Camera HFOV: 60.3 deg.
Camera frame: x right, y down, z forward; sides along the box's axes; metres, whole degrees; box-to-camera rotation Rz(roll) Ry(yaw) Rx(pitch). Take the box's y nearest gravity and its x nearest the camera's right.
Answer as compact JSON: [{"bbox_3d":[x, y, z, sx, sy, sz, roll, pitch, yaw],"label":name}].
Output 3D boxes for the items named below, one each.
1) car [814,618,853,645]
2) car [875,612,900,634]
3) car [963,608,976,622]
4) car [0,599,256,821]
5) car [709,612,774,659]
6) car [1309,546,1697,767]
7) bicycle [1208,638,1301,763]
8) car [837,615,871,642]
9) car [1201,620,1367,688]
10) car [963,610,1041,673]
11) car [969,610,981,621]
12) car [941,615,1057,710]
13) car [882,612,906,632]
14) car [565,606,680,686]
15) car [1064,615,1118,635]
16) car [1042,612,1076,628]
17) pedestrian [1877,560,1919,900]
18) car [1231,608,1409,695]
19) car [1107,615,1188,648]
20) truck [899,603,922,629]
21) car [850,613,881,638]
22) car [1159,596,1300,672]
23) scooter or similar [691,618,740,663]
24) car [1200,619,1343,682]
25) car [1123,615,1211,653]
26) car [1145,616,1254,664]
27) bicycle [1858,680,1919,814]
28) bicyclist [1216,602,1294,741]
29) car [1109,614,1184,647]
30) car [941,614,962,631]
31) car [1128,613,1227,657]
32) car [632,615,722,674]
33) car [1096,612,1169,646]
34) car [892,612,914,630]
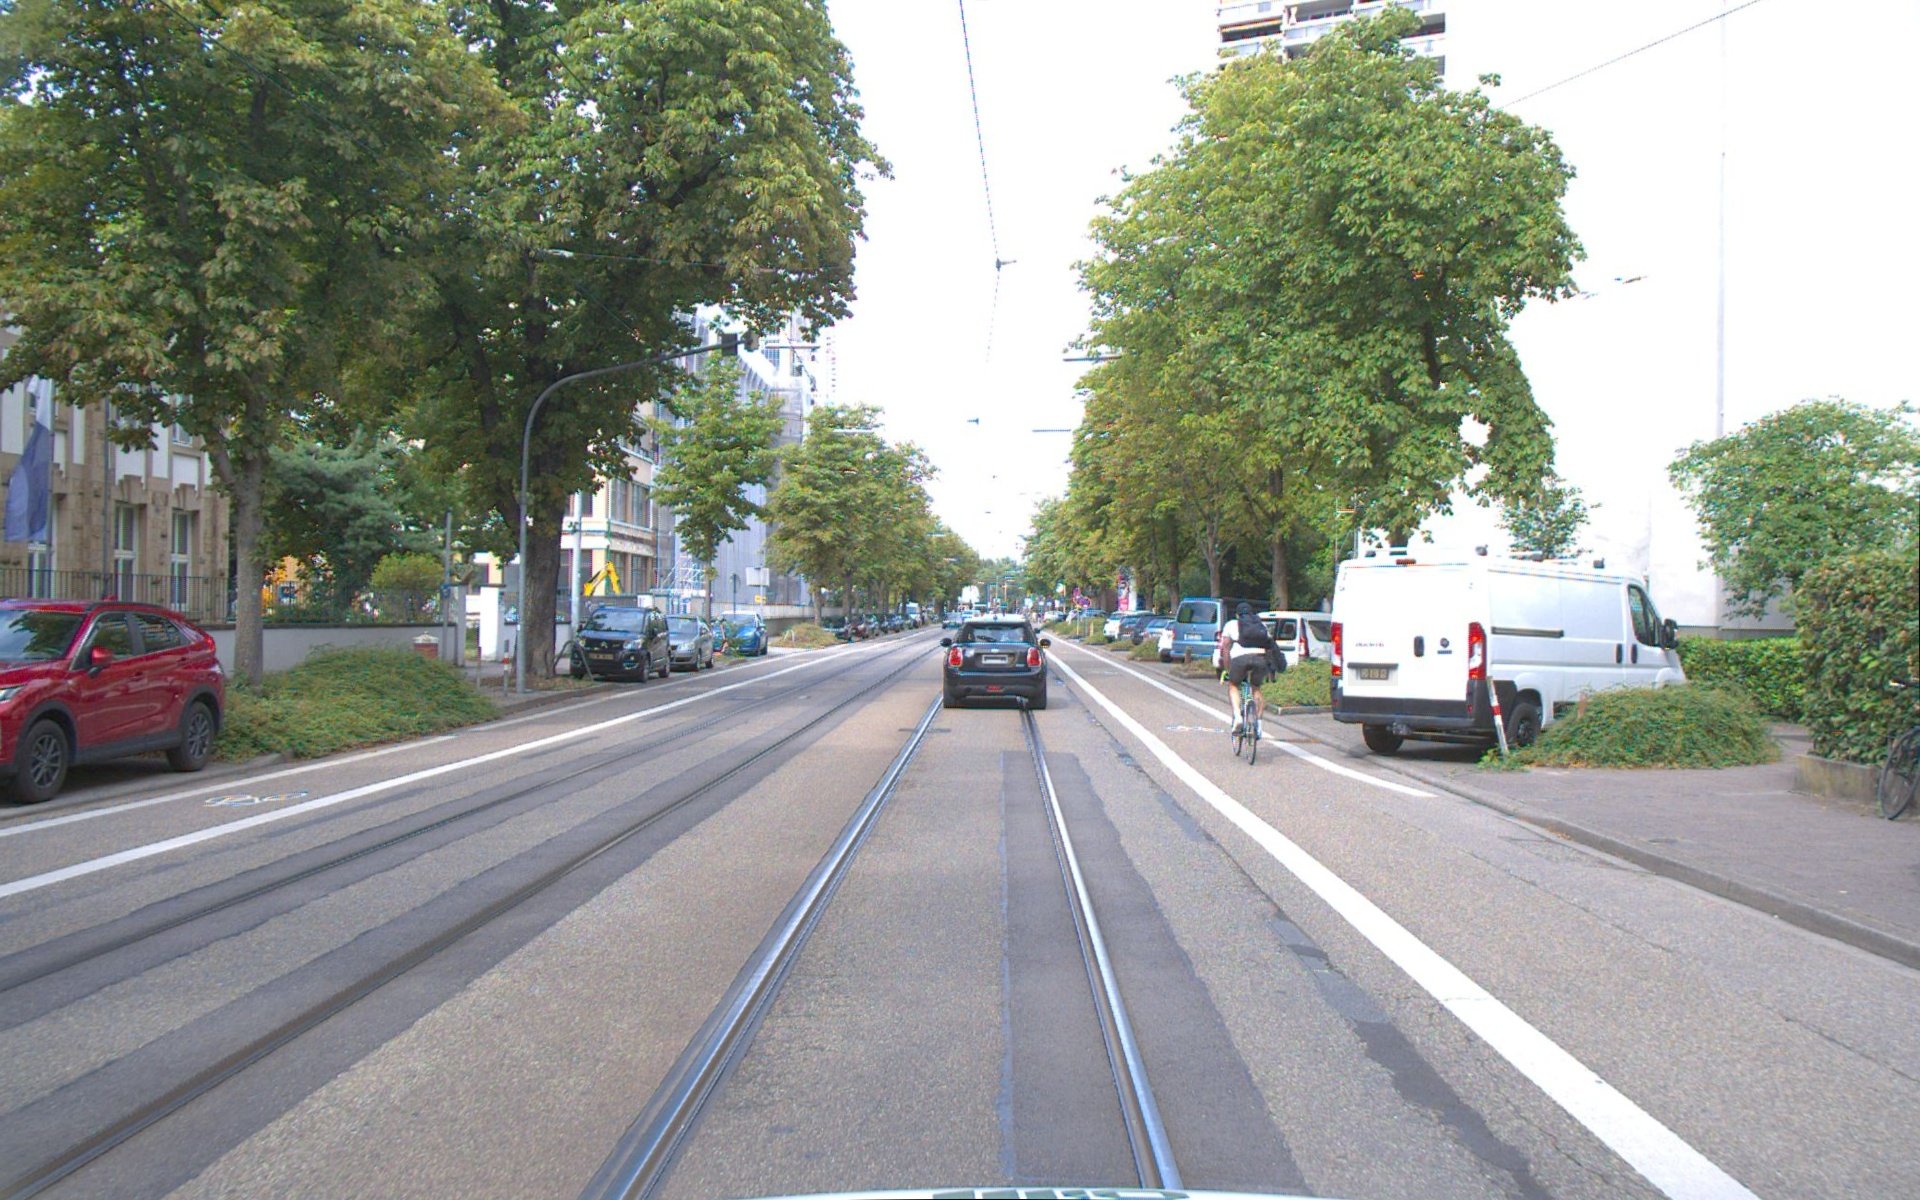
[{"bbox_3d":[-6.856,1.694,90.115,1.765,1.398,4.031,-1,-1,1],"label":"car"},{"bbox_3d":[-5.719,1.807,130.314,1.765,1.611,4.031,-1,-1,1],"label":"car"},{"bbox_3d":[1.345,2.080,228.250,1.765,1.855,4.484,-1,-1,1],"label":"car"},{"bbox_3d":[-8.280,0.860,15.073,1.686,1.684,4.542,2,-1,0],"label":"car"},{"bbox_3d":[-7.425,1.192,56.413,1.658,1.513,3.677,1,-1,1],"label":"car"},{"bbox_3d":[6.652,0.640,19.977,4.916,2.330,2.348,2,-1,-42],"label":"car"},{"bbox_3d":[3.277,1.093,18.591,0.644,1.271,2.124,1,0,0],"label":"bicycle"},{"bbox_3d":[-6.457,1.730,100.747,1.765,1.611,4.031,-1,-1,1],"label":"car"},{"bbox_3d":[7.381,1.206,37.504,3.940,1.458,1.664,2,-1,-42],"label":"car"},{"bbox_3d":[1.051,1.050,43.266,1.757,1.496,3.998,2,-1,-2],"label":"car"},{"bbox_3d":[2.205,2.301,247.278,1.765,1.650,4.484,-1,-1,1],"label":"car"},{"bbox_3d":[0.583,0.994,27.764,1.757,1.448,3.999,1,-1,-1],"label":"car"},{"bbox_3d":[-5.552,1.867,139.543,1.765,1.611,4.031,-1,-1,1],"label":"car"},{"bbox_3d":[-7.644,1.011,37.827,1.720,1.676,4.052,1,-1,1],"label":"car"},{"bbox_3d":[9.953,1.869,125.653,3.906,1.450,1.884,1,-1,-2],"label":"car"},{"bbox_3d":[12.127,2.435,202.853,3.906,1.944,1.999,1,0,-2],"label":"car"},{"bbox_3d":[5.347,0.662,8.447,0.769,1.763,0.896,-2,-1,1],"label":"pedestrian"},{"bbox_3d":[7.521,1.051,34.353,4.078,1.697,1.662,2,-1,-45],"label":"car"},{"bbox_3d":[8.396,1.402,73.816,3.499,1.468,1.602,1,-1,-38],"label":"car"},{"bbox_3d":[-4.892,1.585,164.054,2.028,2.513,4.899,-1,-1,1],"label":"truck"},{"bbox_3d":[-6.213,1.704,109.617,1.765,1.611,4.031,-1,-1,1],"label":"car"},{"bbox_3d":[7.721,0.964,47.094,4.243,2.050,1.802,2,-1,-44],"label":"car"},{"bbox_3d":[-7.709,1.280,52.182,1.413,1.367,0.700,-1,-1,3],"label":"scooter or similar"},{"bbox_3d":[7.697,1.229,40.706,3.688,1.458,1.662,2,-1,-44],"label":"car"},{"bbox_3d":[8.410,1.392,67.099,3.711,1.484,1.614,2,-1,-44],"label":"car"},{"bbox_3d":[7.776,1.282,53.556,1.612,1.485,3.802,0,-1,44],"label":"car"},{"bbox_3d":[7.010,1.052,11.608,0.378,0.923,1.841,-1,-1,-1],"label":"bicycle"},{"bbox_3d":[3.283,0.775,18.494,0.644,1.489,1.178,1,0,0],"label":"bicyclist"},{"bbox_3d":[8.689,1.421,76.931,3.411,1.468,1.539,1,-1,-38],"label":"car"},{"bbox_3d":[-0.772,2.012,149.674,1.797,1.473,4.553,0,0,1],"label":"car"},{"bbox_3d":[7.952,1.289,60.293,3.711,1.549,1.614,2,-1,-44],"label":"car"},{"bbox_3d":[-7.507,1.157,44.125,1.658,1.452,3.868,1,-1,1],"label":"car"},{"bbox_3d":[8.359,1.398,79.996,3.411,1.600,1.539,1,-1,-38],"label":"car"},{"bbox_3d":[-5.198,1.936,150.946,1.765,1.611,4.031,-1,-1,1],"label":"car"}]
